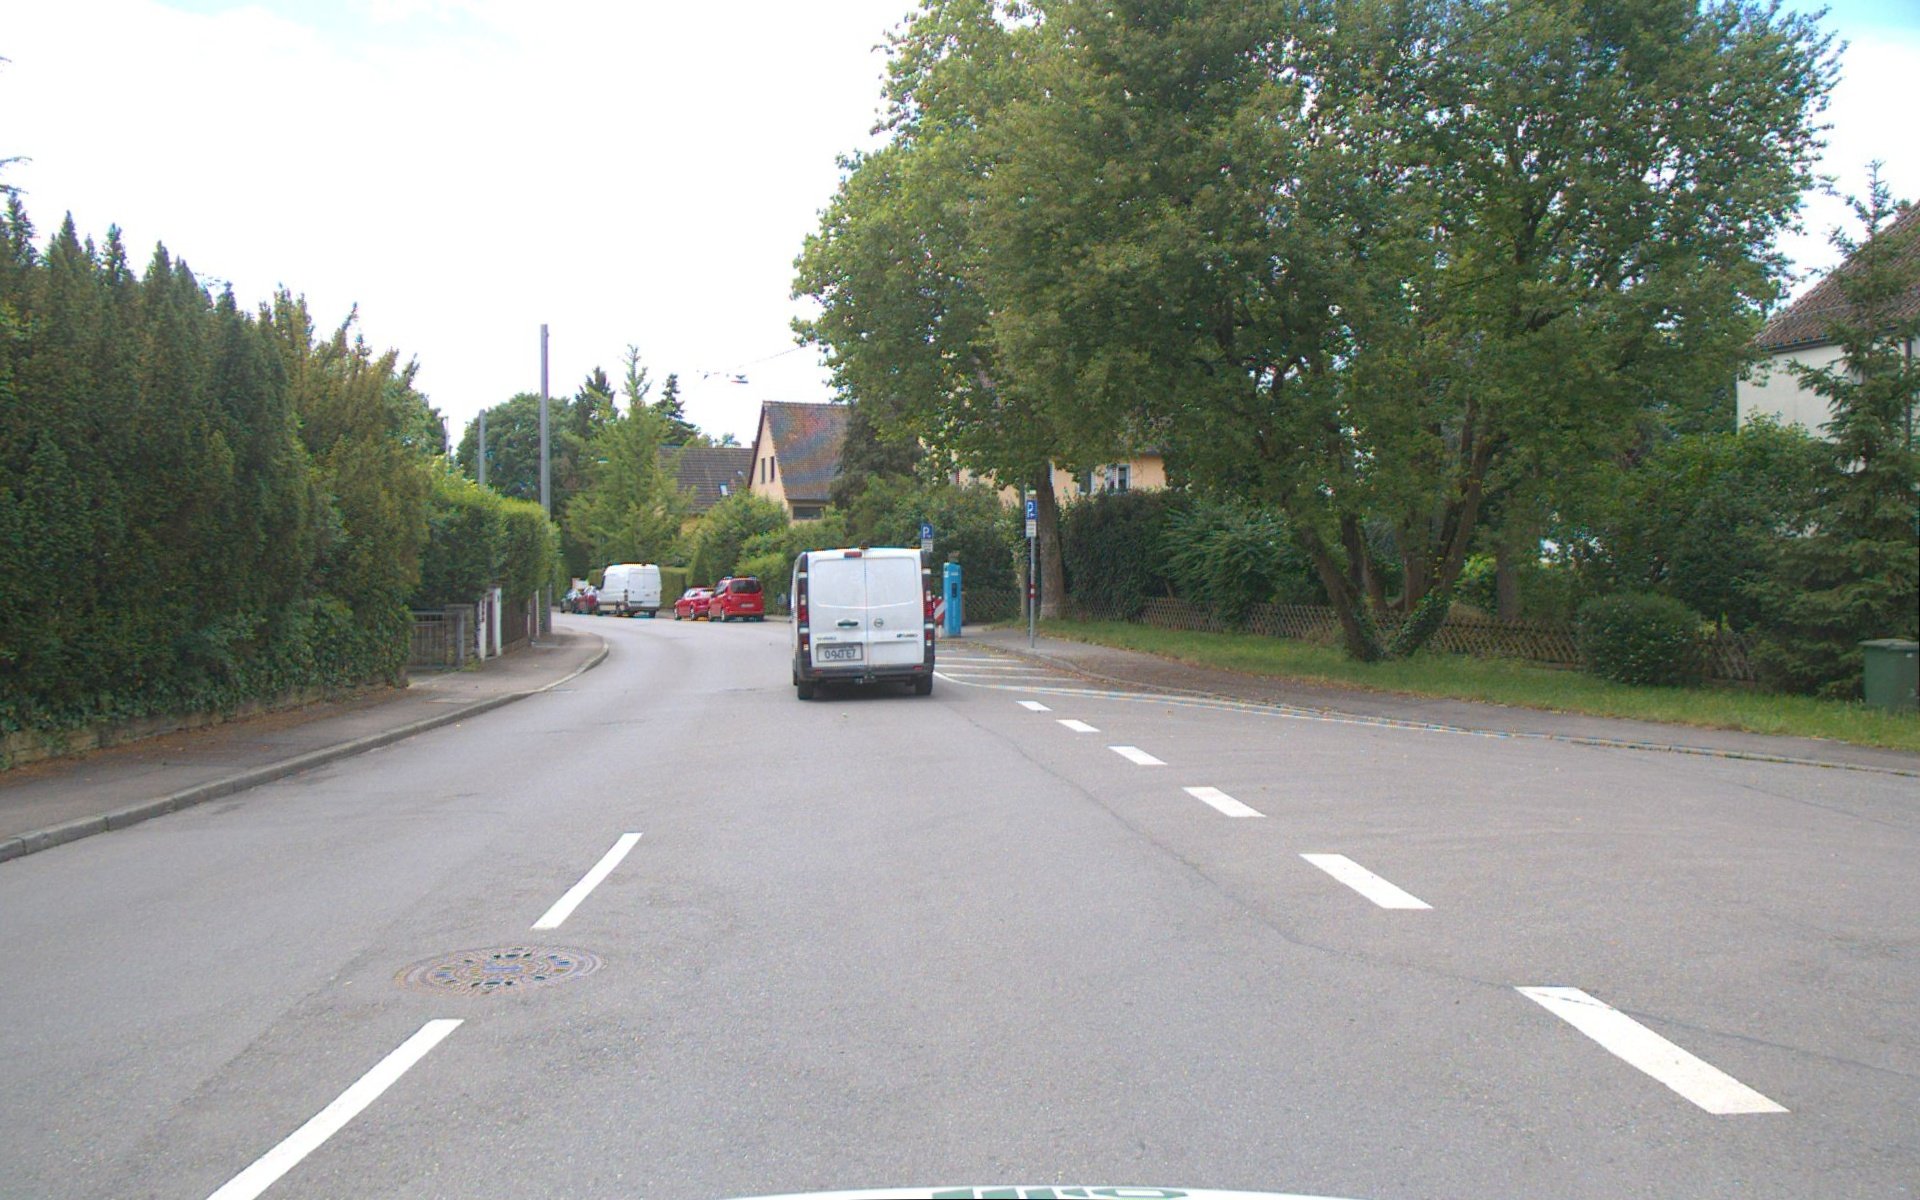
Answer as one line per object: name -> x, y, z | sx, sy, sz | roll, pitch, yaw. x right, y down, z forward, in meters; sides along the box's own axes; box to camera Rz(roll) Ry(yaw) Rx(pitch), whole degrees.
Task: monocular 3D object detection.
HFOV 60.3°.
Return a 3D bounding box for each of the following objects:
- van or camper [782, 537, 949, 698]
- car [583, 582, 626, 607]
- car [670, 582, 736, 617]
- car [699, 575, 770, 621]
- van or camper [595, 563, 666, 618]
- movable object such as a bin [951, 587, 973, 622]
van or camper -> -1.461, 0.137, 23.530 | 1.888, 2.048, 4.820 | 0, 2, -9
car -> -19.812, -0.306, 92.093 | 1.511, 1.327, 3.999 | -1, 1, -25
car -> -11.360, -0.053, 72.869 | 1.692, 1.493, 4.231 | -1, 1, -26
car -> -9.326, -0.098, 68.133 | 1.736, 1.828, 4.914 | -1, 1, -22
van or camper -> -17.078, -0.517, 85.479 | 2.041, 2.721, 6.276 | -1, 1, -26
movable object such as a bin -> 0.066, 0.146, 52.482 | 0.592, 1.088, 0.567 | 0, 0, -9
